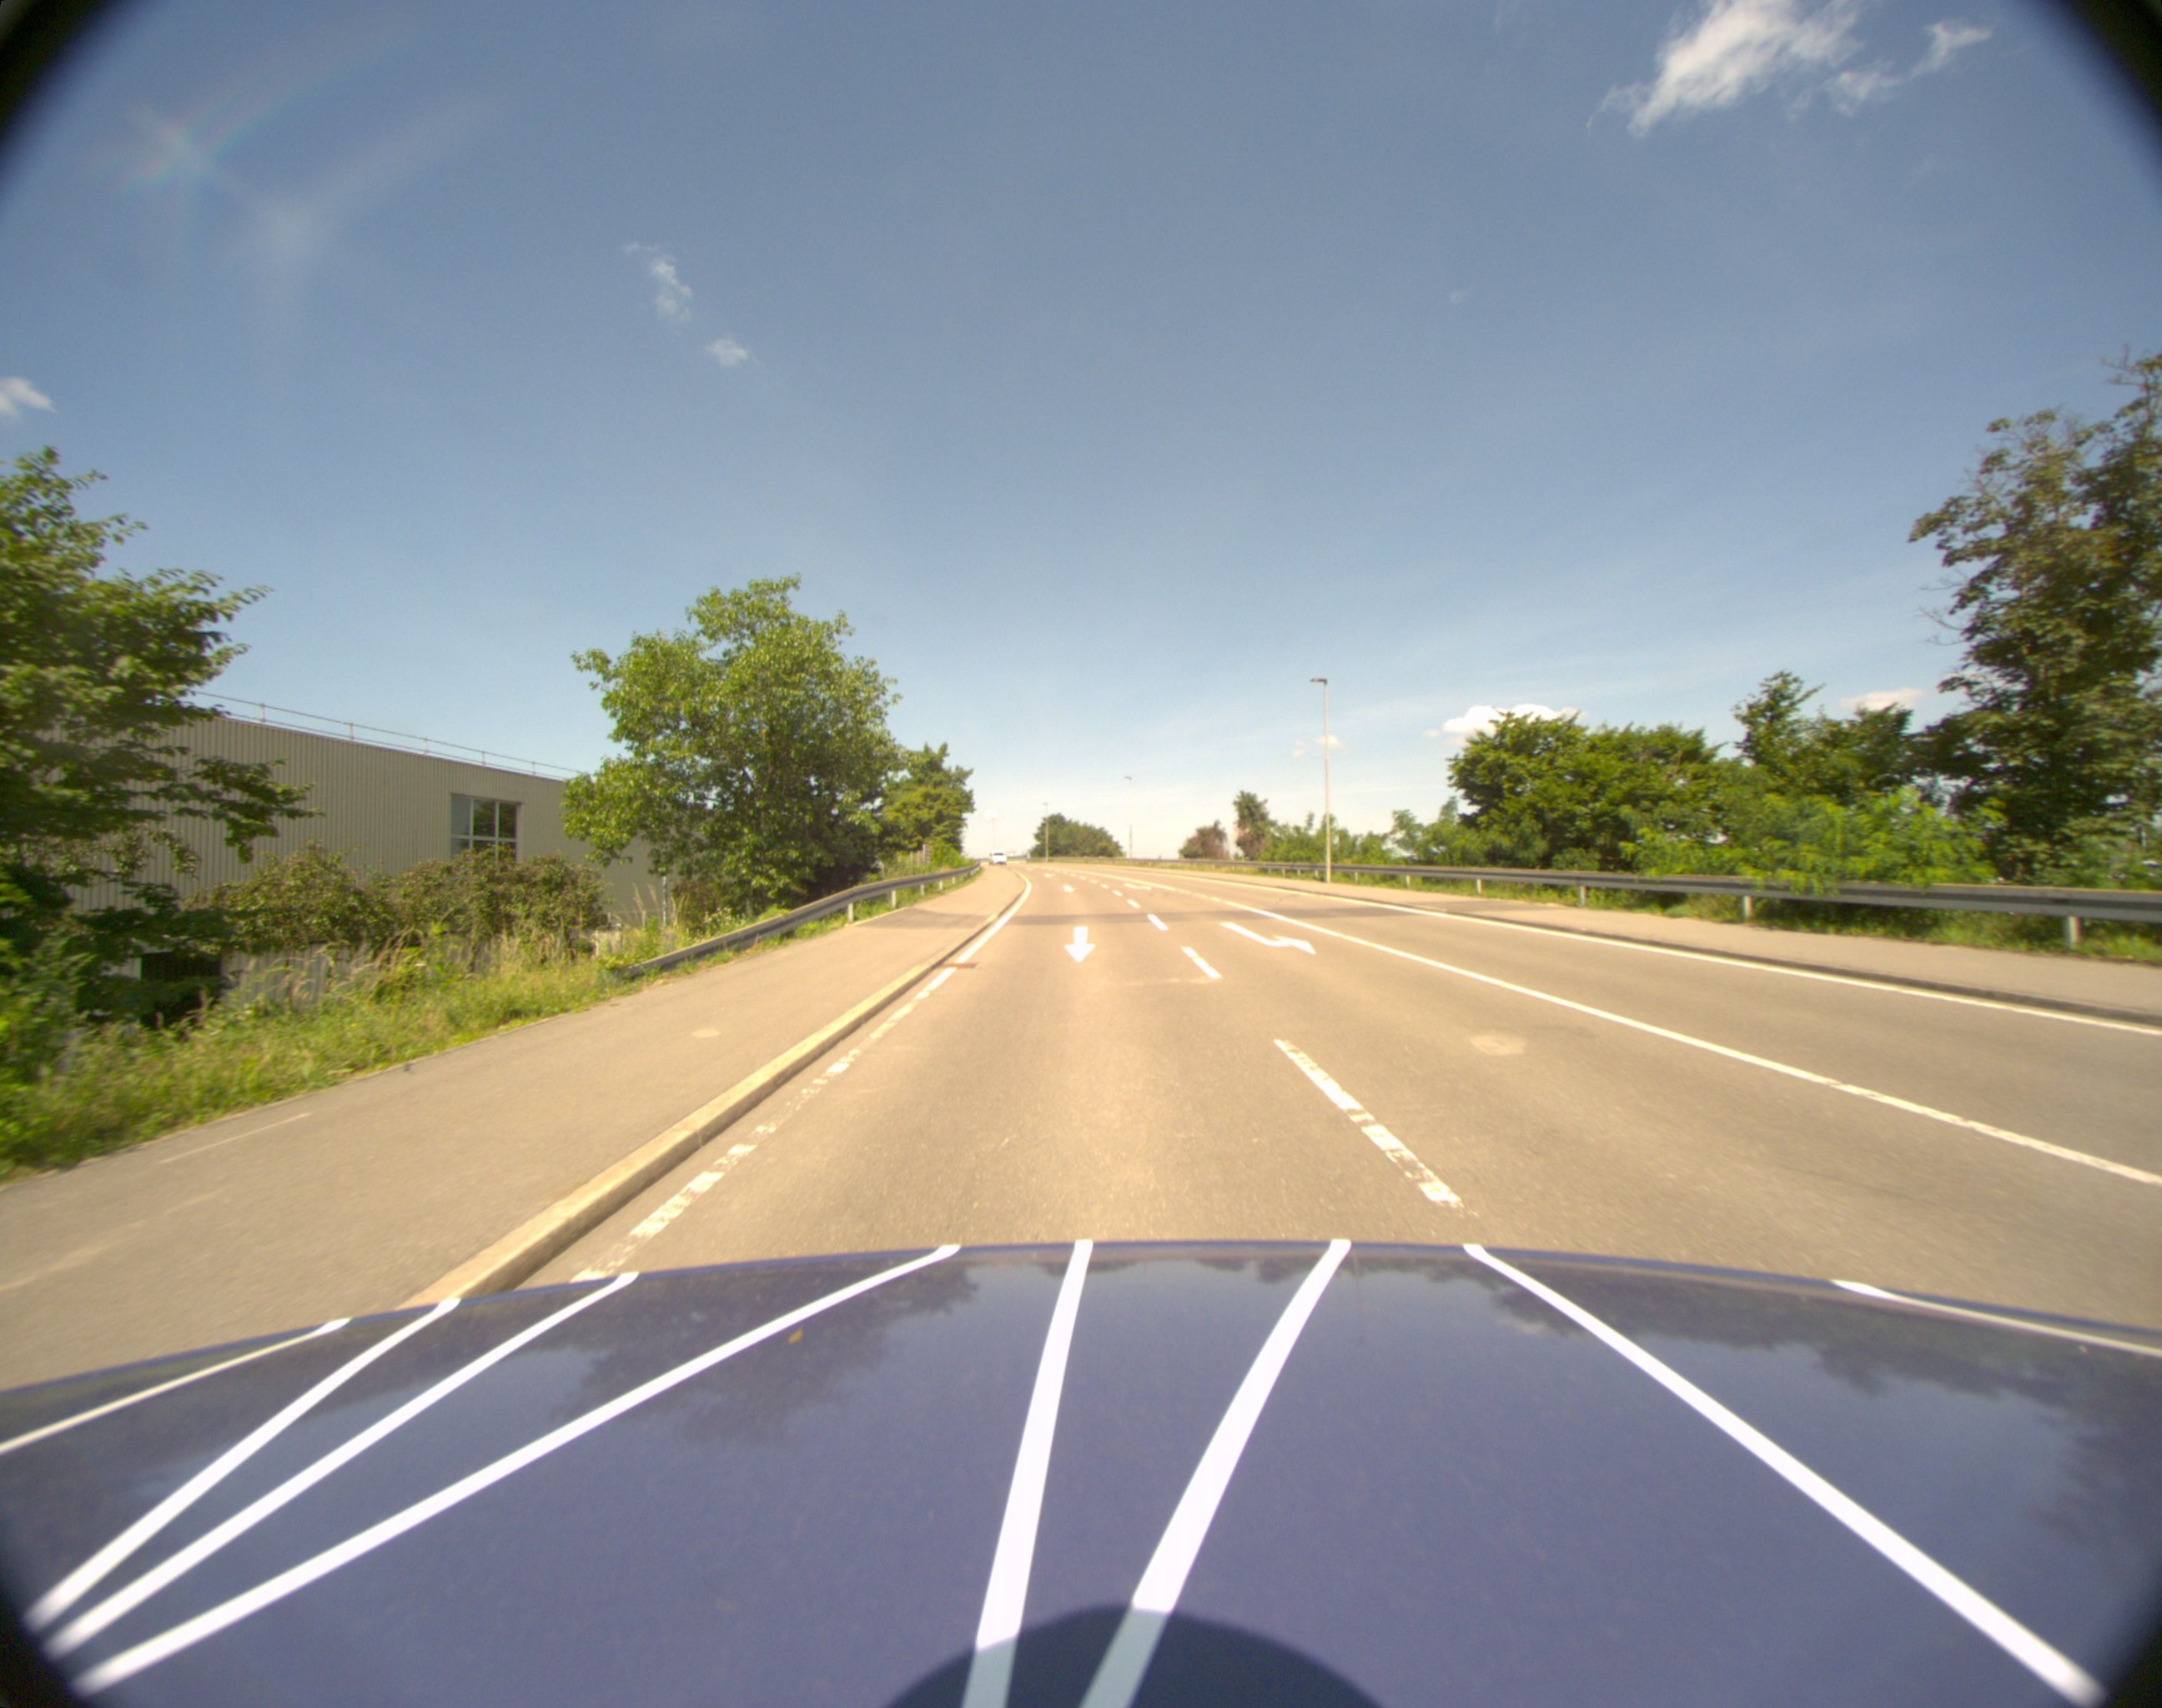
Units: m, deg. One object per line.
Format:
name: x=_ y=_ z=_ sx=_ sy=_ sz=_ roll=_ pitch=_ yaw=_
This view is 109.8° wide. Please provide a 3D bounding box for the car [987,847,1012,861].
car: x=-10.873 y=-0.007 z=101.677 sx=2.096 sy=1.750 sz=4.275 roll=-3 pitch=0 yaw=-23
